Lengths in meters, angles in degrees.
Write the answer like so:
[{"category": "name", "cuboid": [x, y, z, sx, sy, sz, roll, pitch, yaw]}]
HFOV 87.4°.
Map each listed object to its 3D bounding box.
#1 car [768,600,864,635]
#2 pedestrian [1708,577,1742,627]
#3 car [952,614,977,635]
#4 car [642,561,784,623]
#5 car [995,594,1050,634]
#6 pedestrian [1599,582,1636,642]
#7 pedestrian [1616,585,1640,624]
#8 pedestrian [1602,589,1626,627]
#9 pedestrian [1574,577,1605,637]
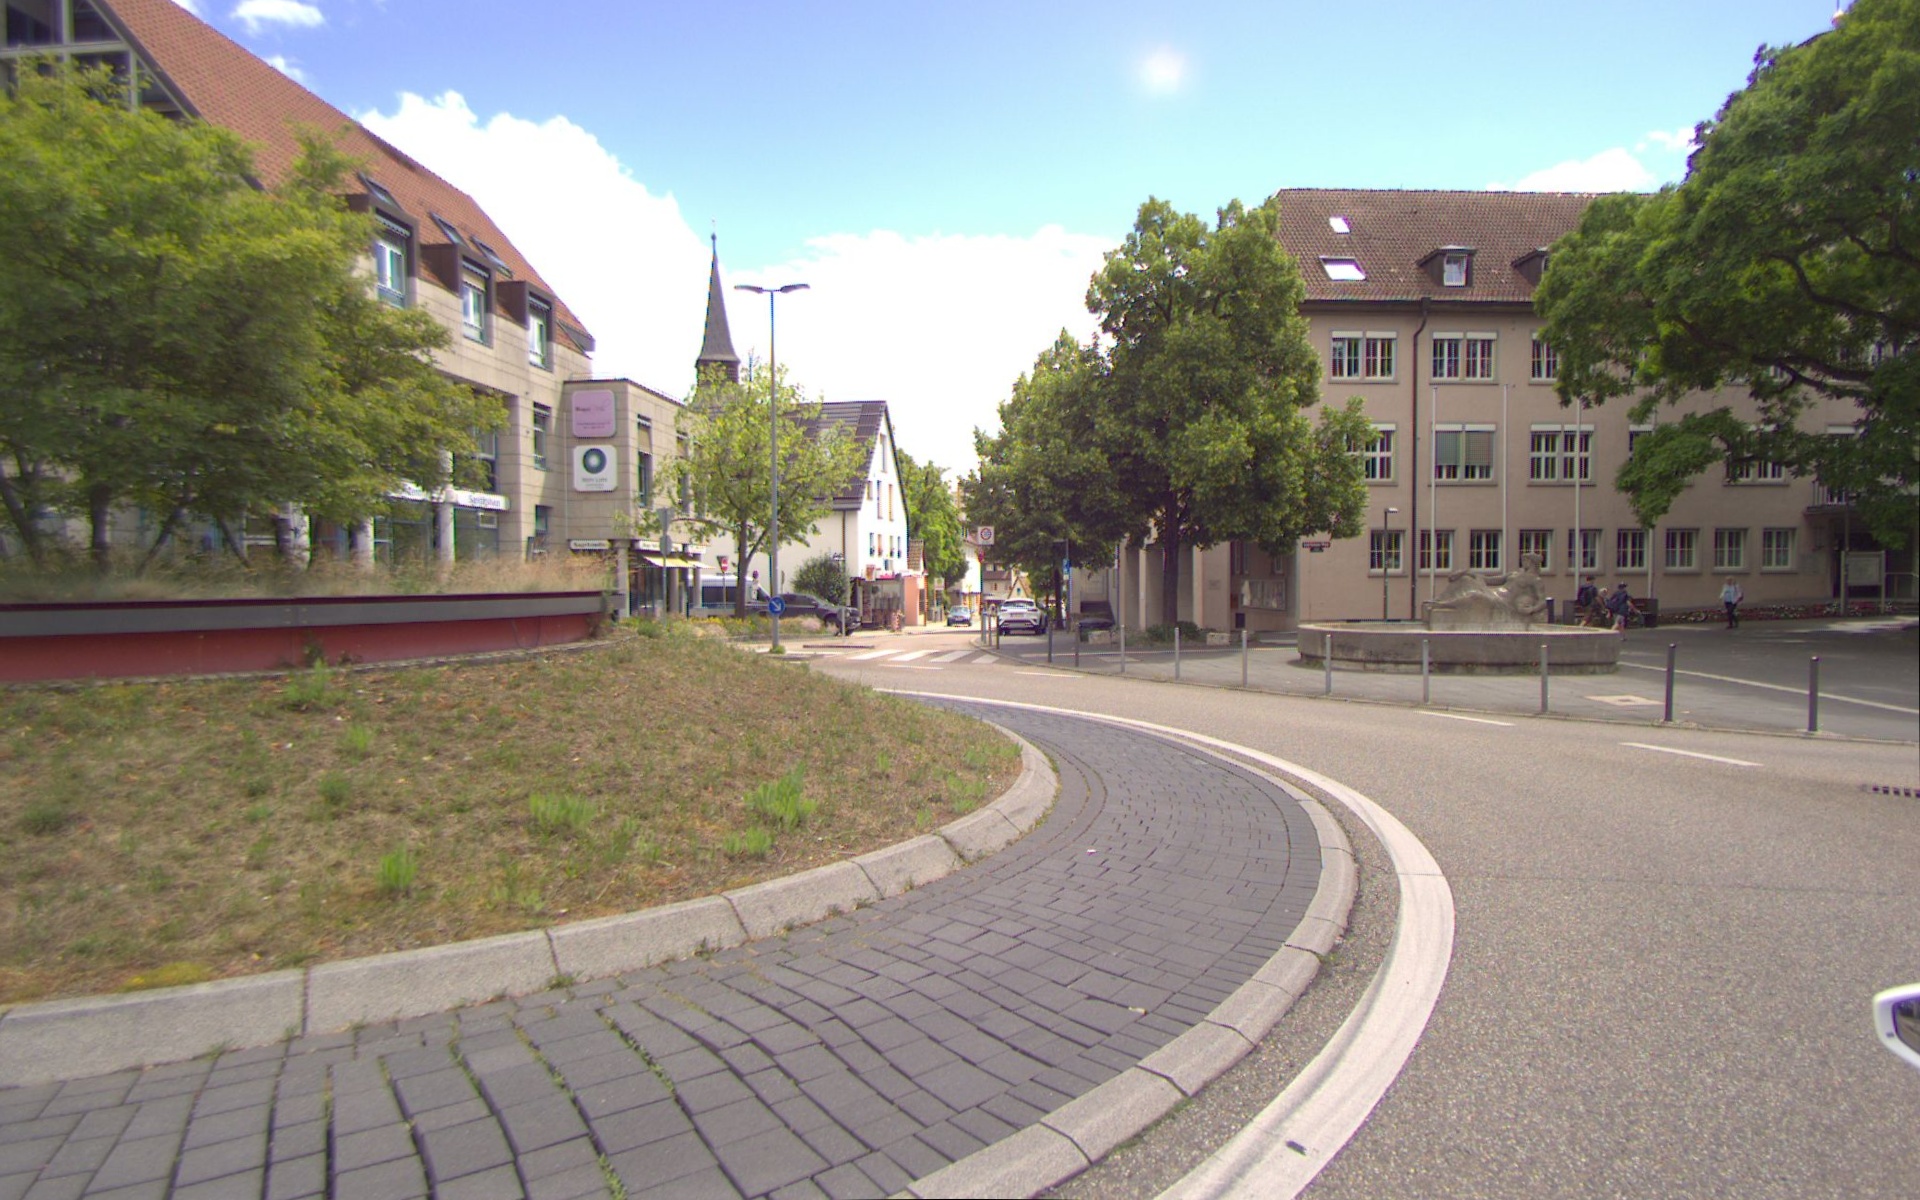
[{"category": "car", "cuboid": [-6.456, 0.767, 45.217, 3.920, 1.439, 1.691, 1, 1, 18]}, {"category": "pedestrian", "cuboid": [23.451, 0.060, 30.780, 0.810, 1.513, 0.691, 1, 1, -45]}, {"category": "car", "cuboid": [0.308, 1.684, 69.796, 1.698, 1.283, 4.000, 1, 1, 0]}, {"category": "car", "cuboid": [-11.667, -0.301, 47.604, 6.216, 2.593, 2.194, 3, -2, -23]}, {"category": "car", "cuboid": [2.648, 0.550, 41.696, 1.943, 1.551, 4.002, 1, 1, 8]}, {"category": "pedestrian", "cuboid": [17.724, 0.310, 27.082, 0.626, 1.545, 0.577, 2, 5, 15]}, {"category": "pedestrian", "cuboid": [21.582, 0.146, 32.462, 0.576, 1.238, 0.482, 1, 1, -43]}, {"category": "pedestrian", "cuboid": [20.845, 0.259, 32.036, 0.576, 1.198, 0.482, 1, 1, -43]}, {"category": "pedestrian", "cuboid": [17.574, 0.177, 28.056, 0.562, 1.631, 0.437, 2, 5, 15]}]
